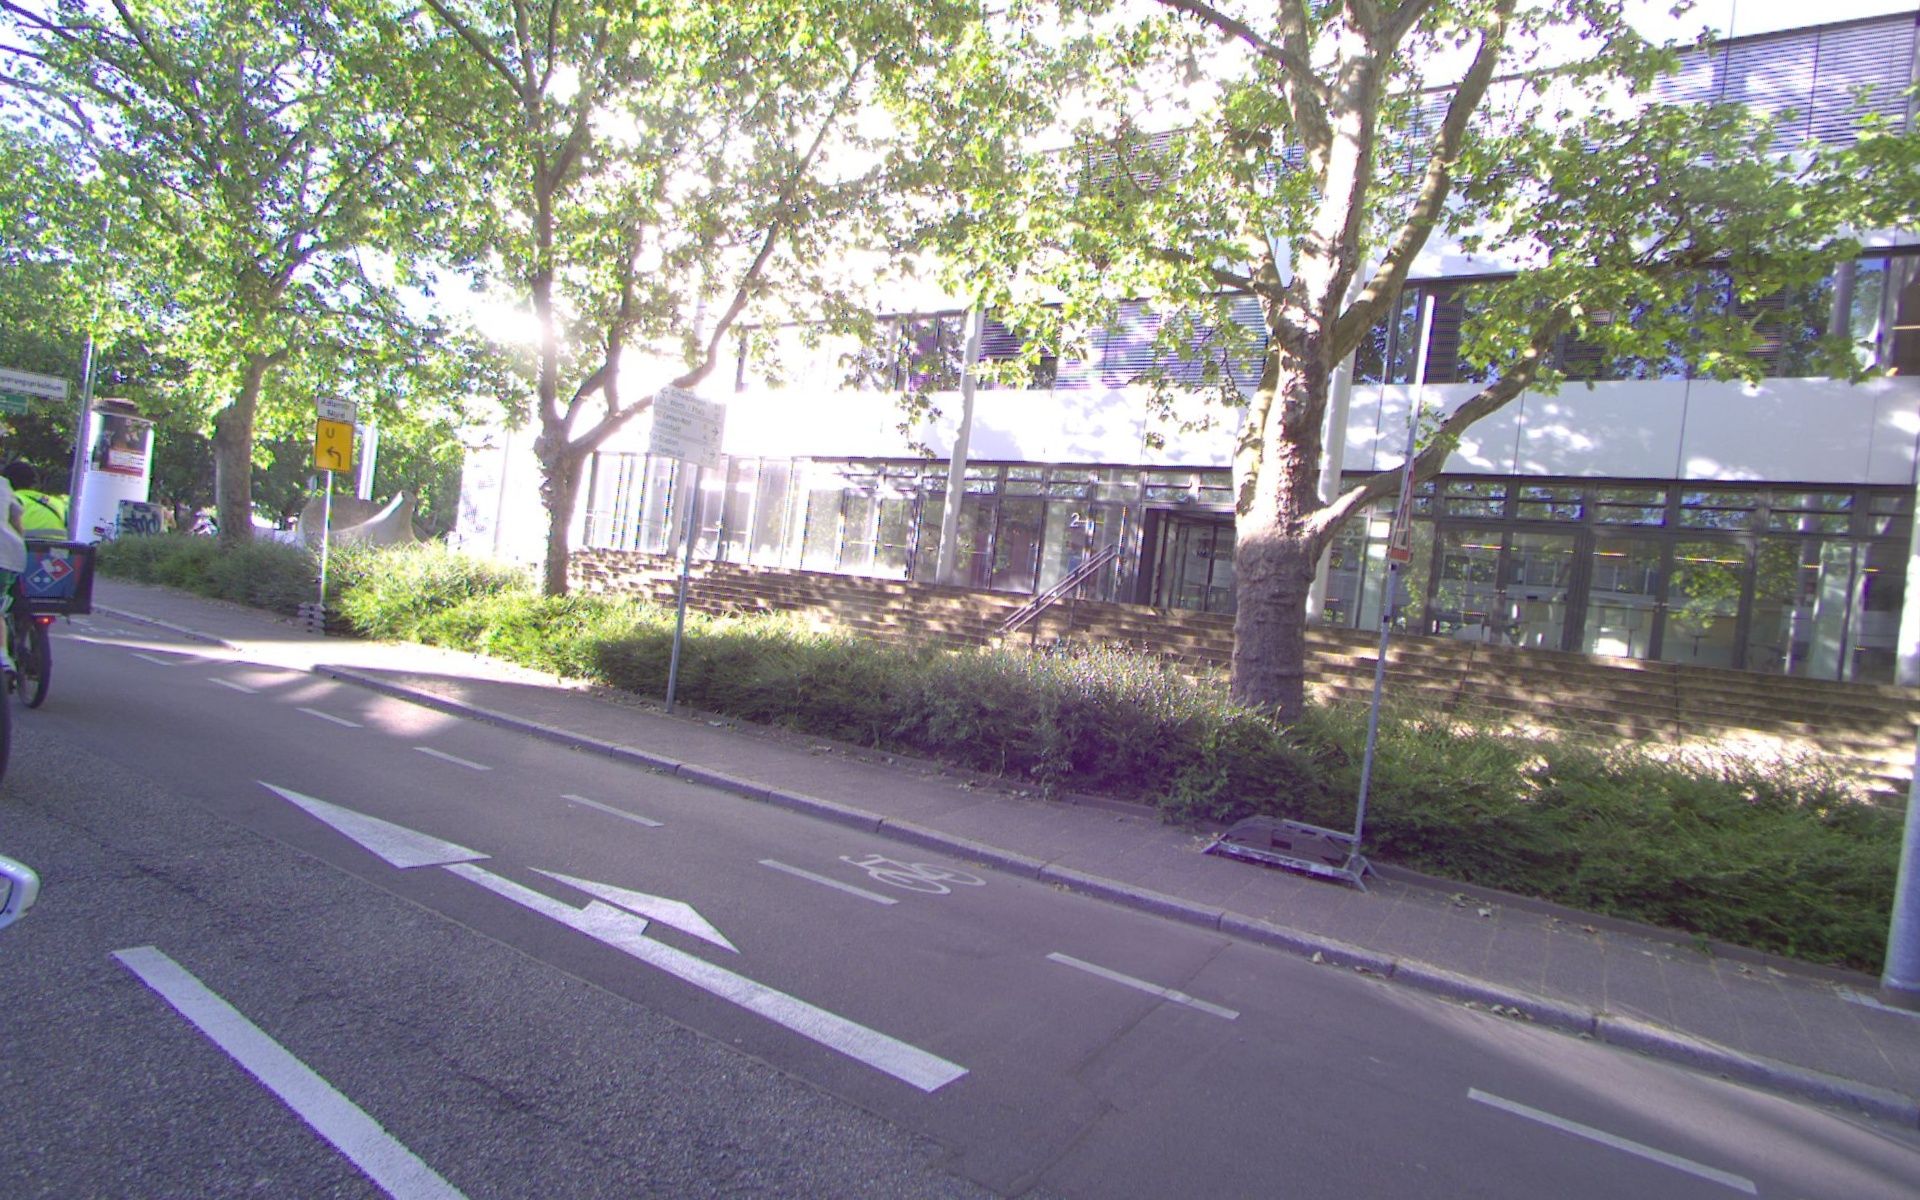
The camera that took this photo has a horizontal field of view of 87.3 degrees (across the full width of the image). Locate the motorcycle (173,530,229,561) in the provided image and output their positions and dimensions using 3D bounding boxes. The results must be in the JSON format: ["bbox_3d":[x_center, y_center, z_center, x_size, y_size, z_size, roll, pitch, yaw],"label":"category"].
[{"bbox_3d":[-31.018,-2.228,41.139,0.409,1.014,1.720,7,-1,36],"label":"motorcycle"}]

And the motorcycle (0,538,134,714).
[{"bbox_3d":[-7.267,0.126,7.615,2.199,1.145,0.798,6,-2,32],"label":"motorcycle"}]

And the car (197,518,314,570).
[{"bbox_3d":[-32.698,-2.566,46.822,1.708,1.792,3.996,7,-1,30],"label":"car"}]

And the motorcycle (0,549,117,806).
[{"bbox_3d":[-5.402,0.309,5.263,1.897,1.182,0.864,6,-2,32],"label":"motorcycle"}]

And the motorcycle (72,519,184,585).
[{"bbox_3d":[-19.223,-1.094,23.282,0.712,1.257,1.782,6,-2,37],"label":"motorcycle"}]

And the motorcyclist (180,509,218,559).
[{"bbox_3d":[-31.036,-2.682,41.035,0.370,1.899,0.983,6,0,36],"label":"motorcyclist"}]
